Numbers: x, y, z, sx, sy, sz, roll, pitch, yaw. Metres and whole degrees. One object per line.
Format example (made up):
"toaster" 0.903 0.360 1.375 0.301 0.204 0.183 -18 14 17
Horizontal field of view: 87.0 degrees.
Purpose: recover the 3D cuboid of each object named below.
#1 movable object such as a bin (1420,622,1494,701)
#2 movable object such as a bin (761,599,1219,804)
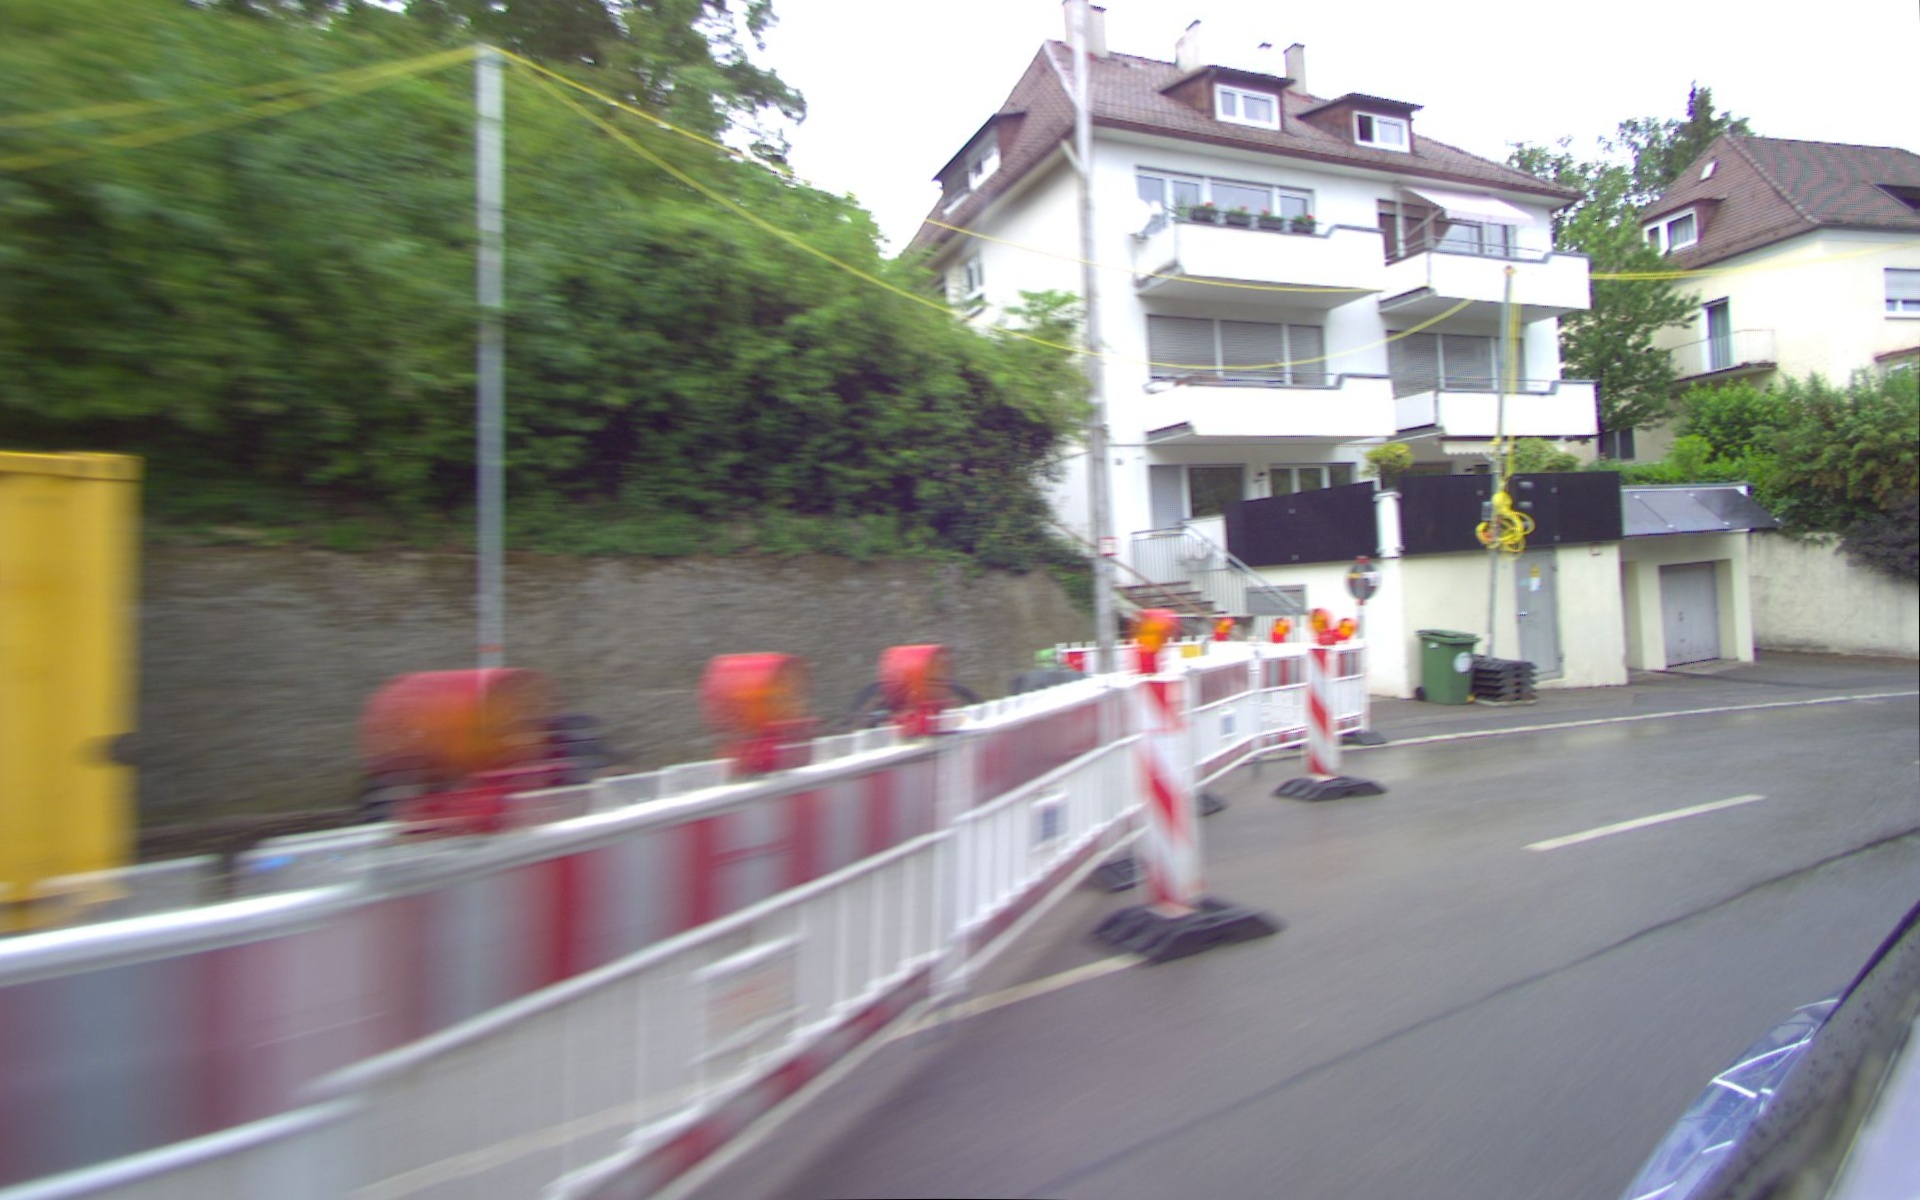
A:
"movable object such as a bin" 6.976 0.849 14.234 0.579 1.045 0.723 -1 0 -18
"movable object such as a bin" 0.351 0.788 9.575 3.924 1.539 1.999 0 -1 -35
